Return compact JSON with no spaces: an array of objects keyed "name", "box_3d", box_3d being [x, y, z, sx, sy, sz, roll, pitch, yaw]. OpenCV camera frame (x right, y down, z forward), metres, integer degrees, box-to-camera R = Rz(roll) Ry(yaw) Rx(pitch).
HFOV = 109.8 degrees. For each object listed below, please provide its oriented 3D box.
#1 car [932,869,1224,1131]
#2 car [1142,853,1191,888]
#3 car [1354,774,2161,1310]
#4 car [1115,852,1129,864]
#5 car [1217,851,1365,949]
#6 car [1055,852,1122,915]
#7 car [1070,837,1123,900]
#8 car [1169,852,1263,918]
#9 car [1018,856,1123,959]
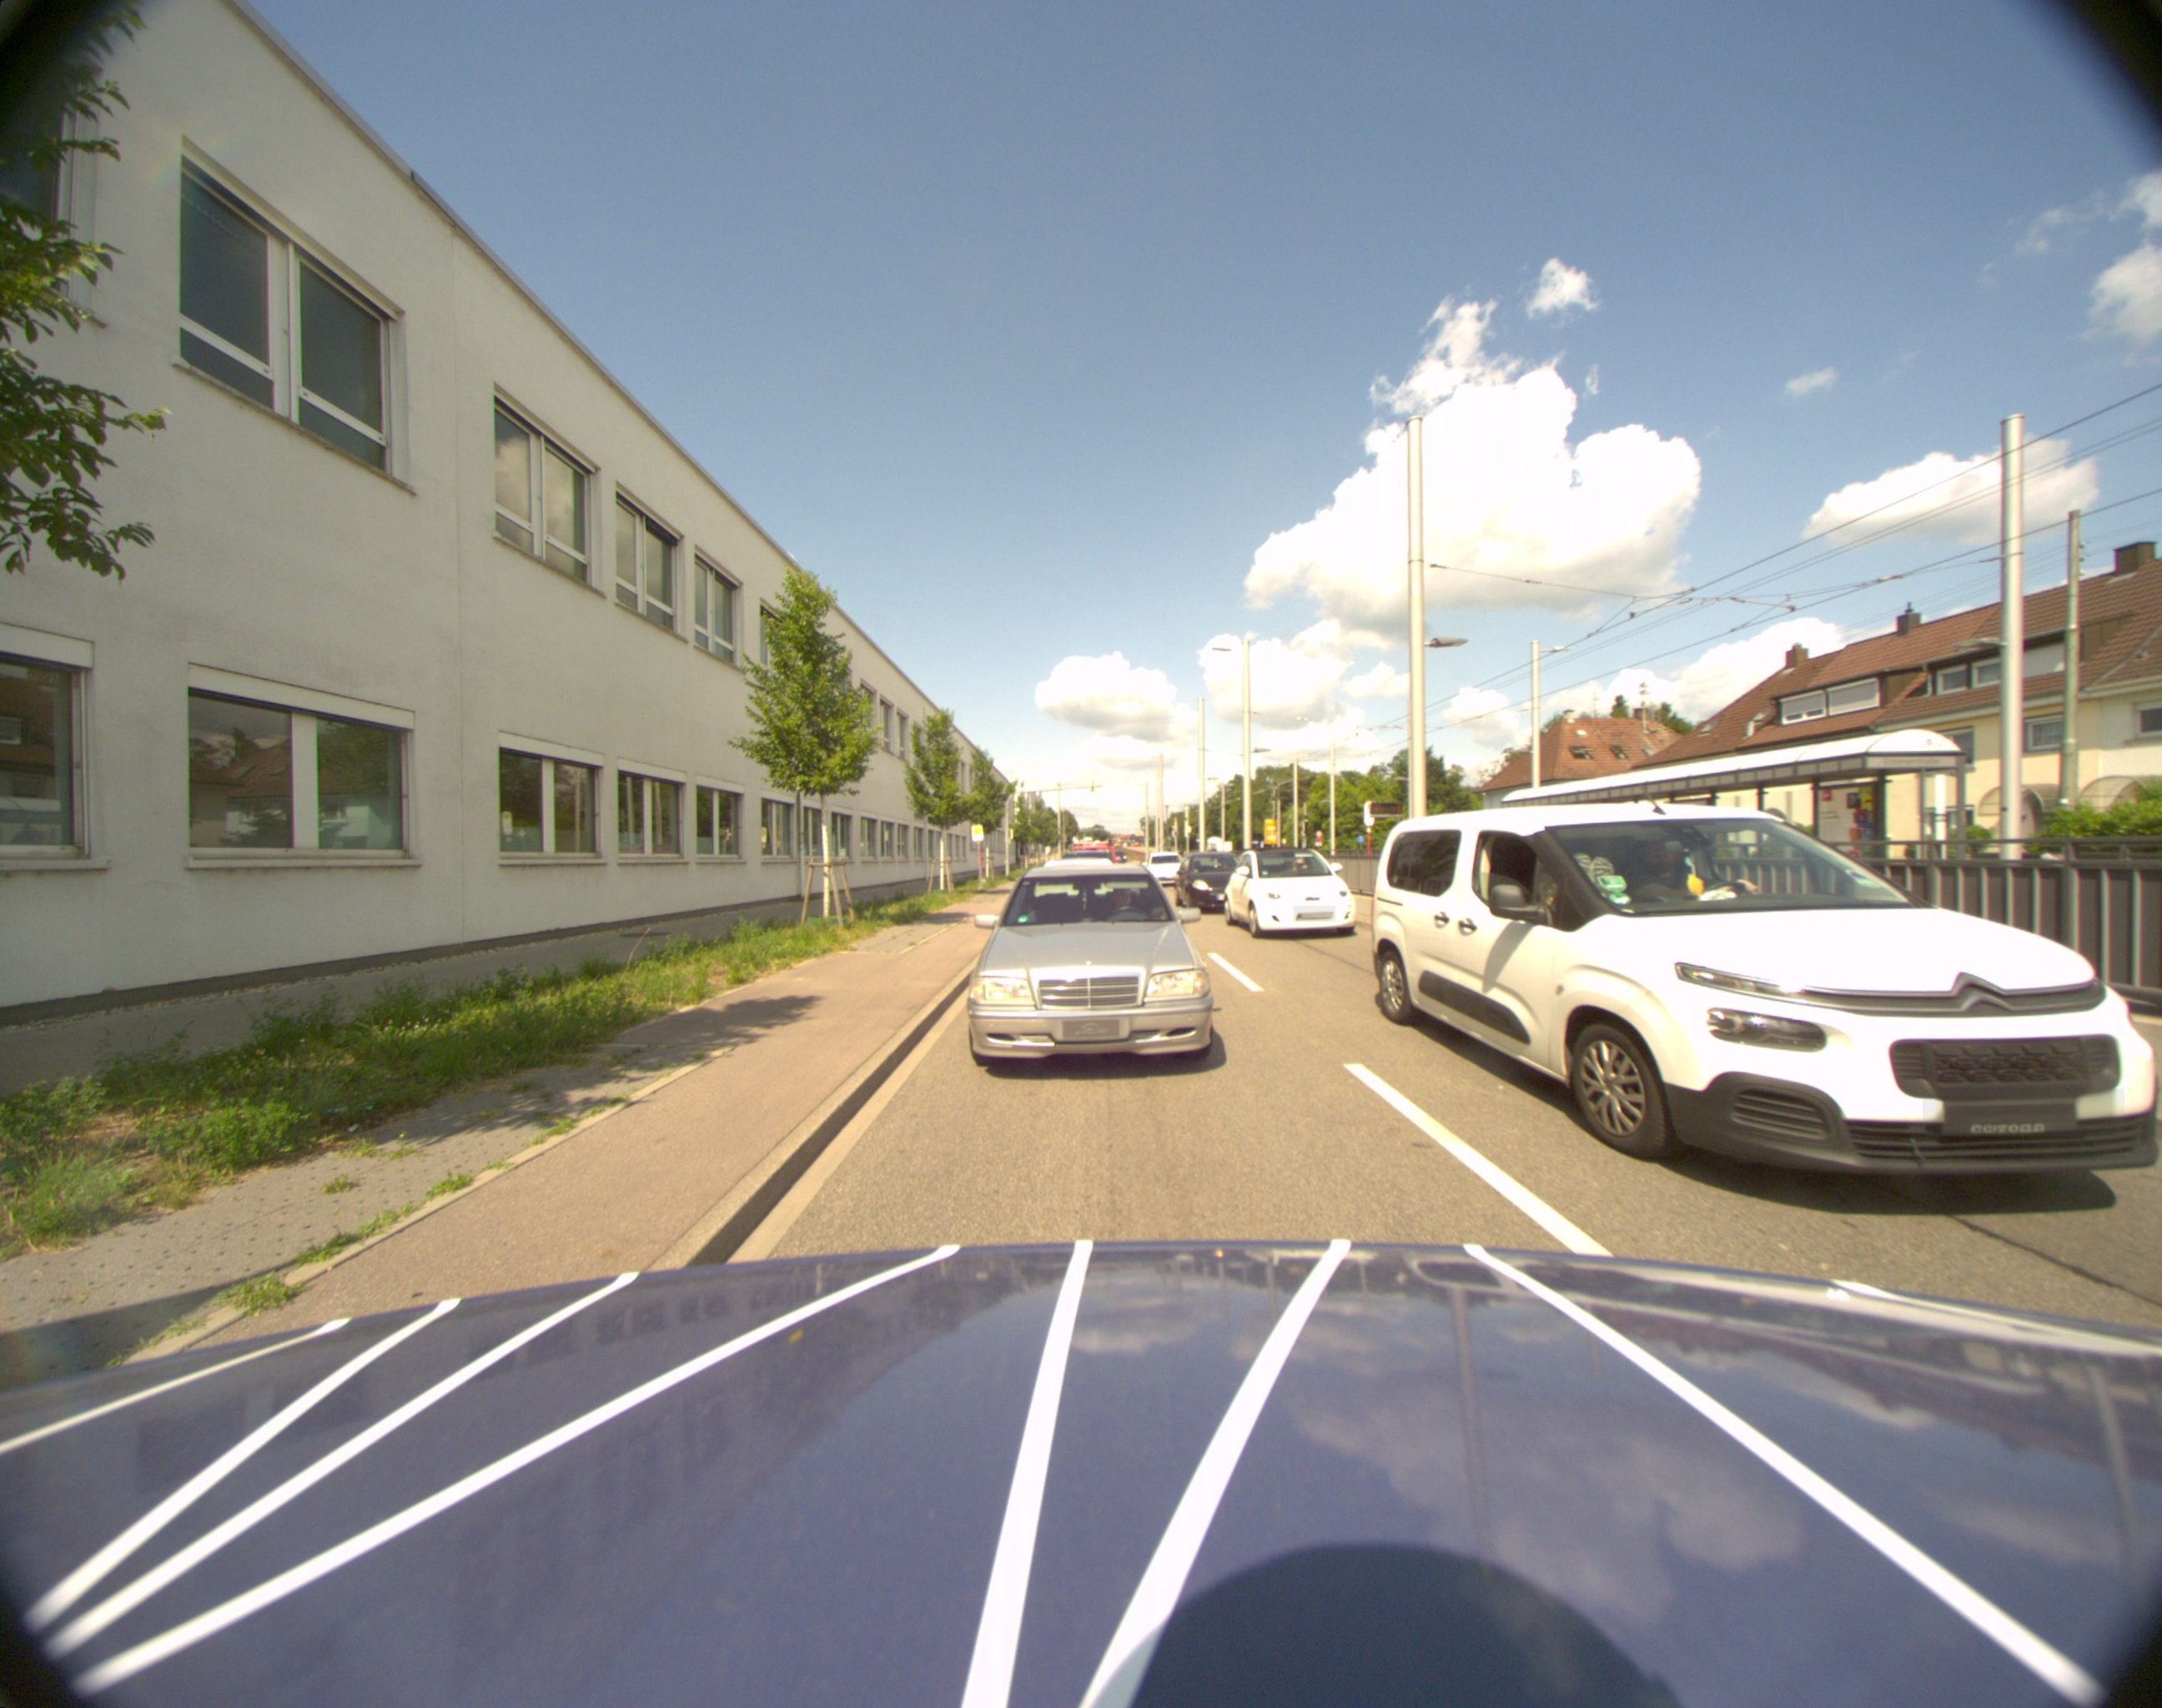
[{"name":"car","box_3d":[0.017,0.936,6.850,1.725,1.389,4.462,-2,1,1]},{"name":"car","box_3d":[3.733,0.666,33.753,1.698,1.350,4.498,-2,1,1]},{"name":"car","box_3d":[3.374,0.614,4.760,1.799,1.805,4.329,-2,1,1]},{"name":"car","box_3d":[5.519,0.521,102.354,1.698,1.350,4.498,-2,1,1]},{"name":"car","box_3d":[3.670,0.732,13.840,1.680,1.495,3.393,-2,0,-1]},{"name":"car","box_3d":[0.224,0.750,21.597,1.664,1.529,3.999,-2,1,1]},{"name":"car","box_3d":[0.574,0.478,29.055,1.787,2.135,5.169,-2,1,1]},{"name":"car","box_3d":[3.325,0.717,19.314,1.680,1.414,3.558,-2,1,-1]},{"name":"car","box_3d":[-0.141,0.887,14.506,1.664,1.564,3.999,-2,1,1]}]
